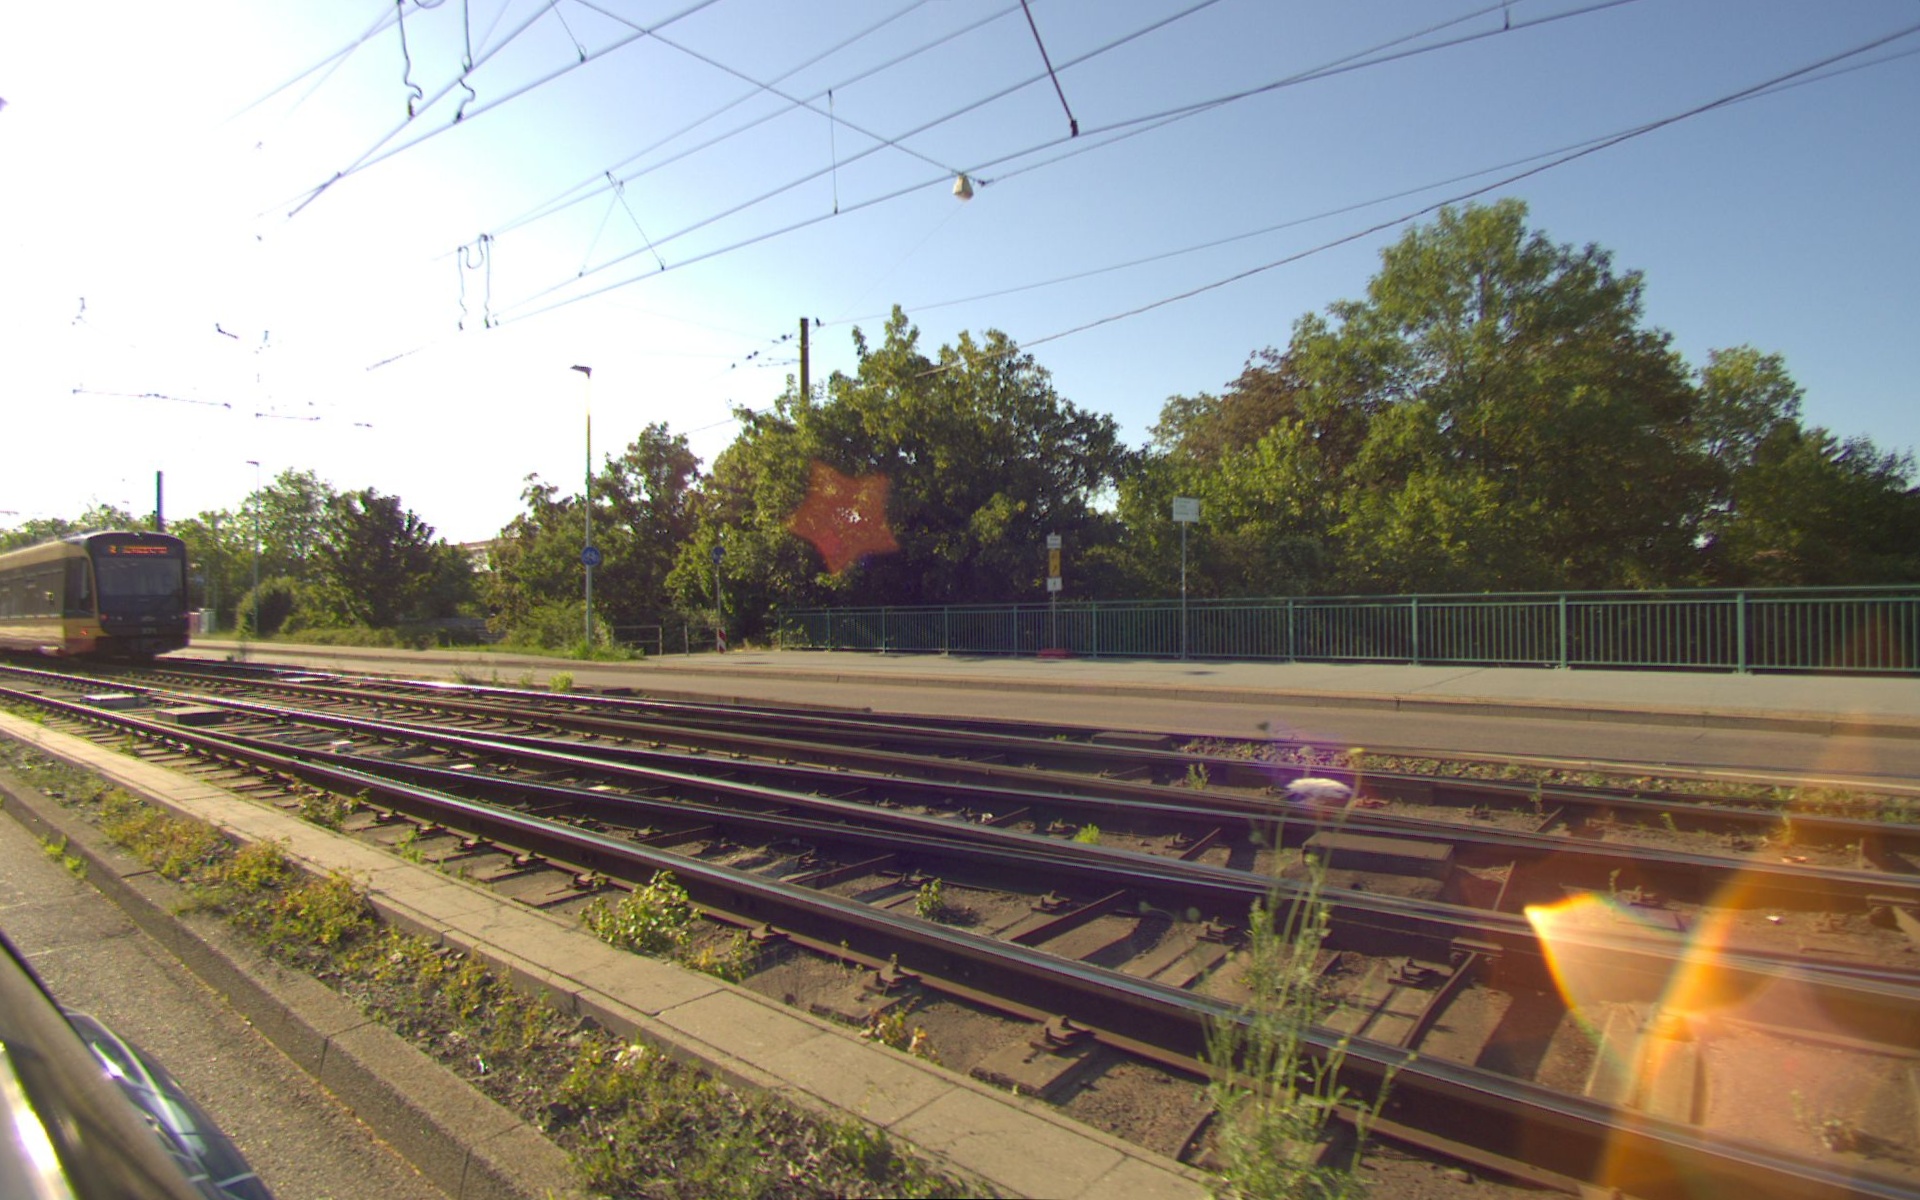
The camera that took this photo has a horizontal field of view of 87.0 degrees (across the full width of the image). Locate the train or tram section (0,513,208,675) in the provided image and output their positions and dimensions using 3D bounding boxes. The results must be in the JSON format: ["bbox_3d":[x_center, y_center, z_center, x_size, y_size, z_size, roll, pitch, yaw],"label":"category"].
[{"bbox_3d":[-25.799,-0.049,29.730,12.688,3.930,2.949,-1,-1,39],"label":"train or tram section"}]

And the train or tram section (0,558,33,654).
[{"bbox_3d":[-44.730,0.362,45.273,13.066,3.930,2.974,-1,-1,39],"label":"train or tram section"}]

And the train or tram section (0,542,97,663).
[{"bbox_3d":[-35.195,0.179,37.432,11.652,3.930,2.947,-1,-1,39],"label":"train or tram section"}]
